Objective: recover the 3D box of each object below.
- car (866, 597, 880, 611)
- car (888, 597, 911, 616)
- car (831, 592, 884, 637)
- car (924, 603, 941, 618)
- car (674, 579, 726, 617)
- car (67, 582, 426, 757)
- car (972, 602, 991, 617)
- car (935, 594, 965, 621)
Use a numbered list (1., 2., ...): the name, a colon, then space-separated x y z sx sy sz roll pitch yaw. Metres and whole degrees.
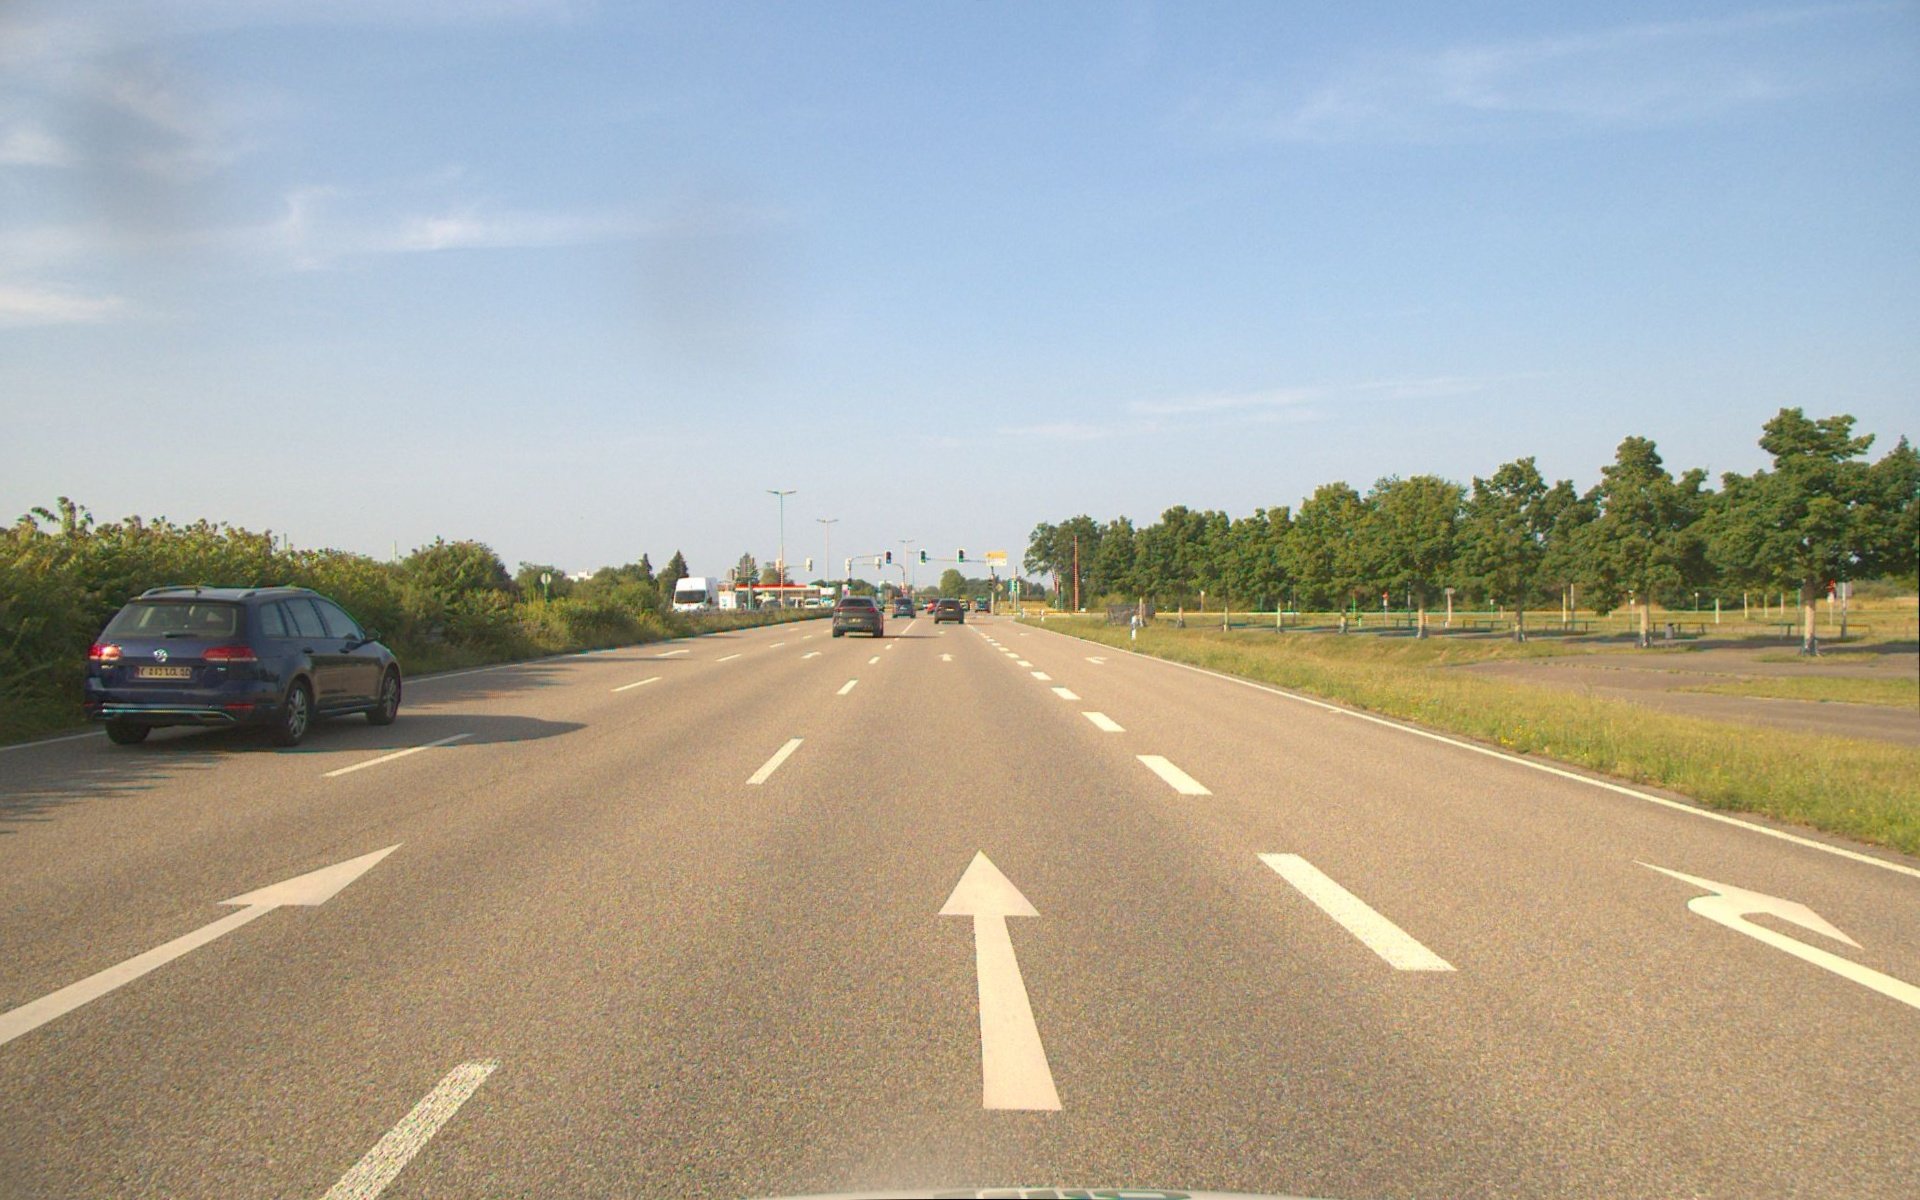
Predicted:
1. car: -10.319 0.472 196.475 1.567 1.559 3.999 2 0 -1
2. car: -5.093 0.544 140.035 1.776 1.489 4.400 2 0 -1
3. car: -3.988 0.531 64.683 1.808 1.640 4.400 2 0 -1
4. car: -2.817 1.101 170.466 1.614 1.489 3.980 2 0 -1
5. car: -15.070 -0.096 96.279 2.118 2.071 6.321 1 -1 -1
6. car: -6.992 0.638 16.815 1.613 1.497 4.775 1 -1 -1
7. car: 2.440 1.073 189.602 1.907 1.665 3.445 1 -1 -3
8. car: -0.678 0.471 109.629 1.893 1.709 4.400 2 0 -1
